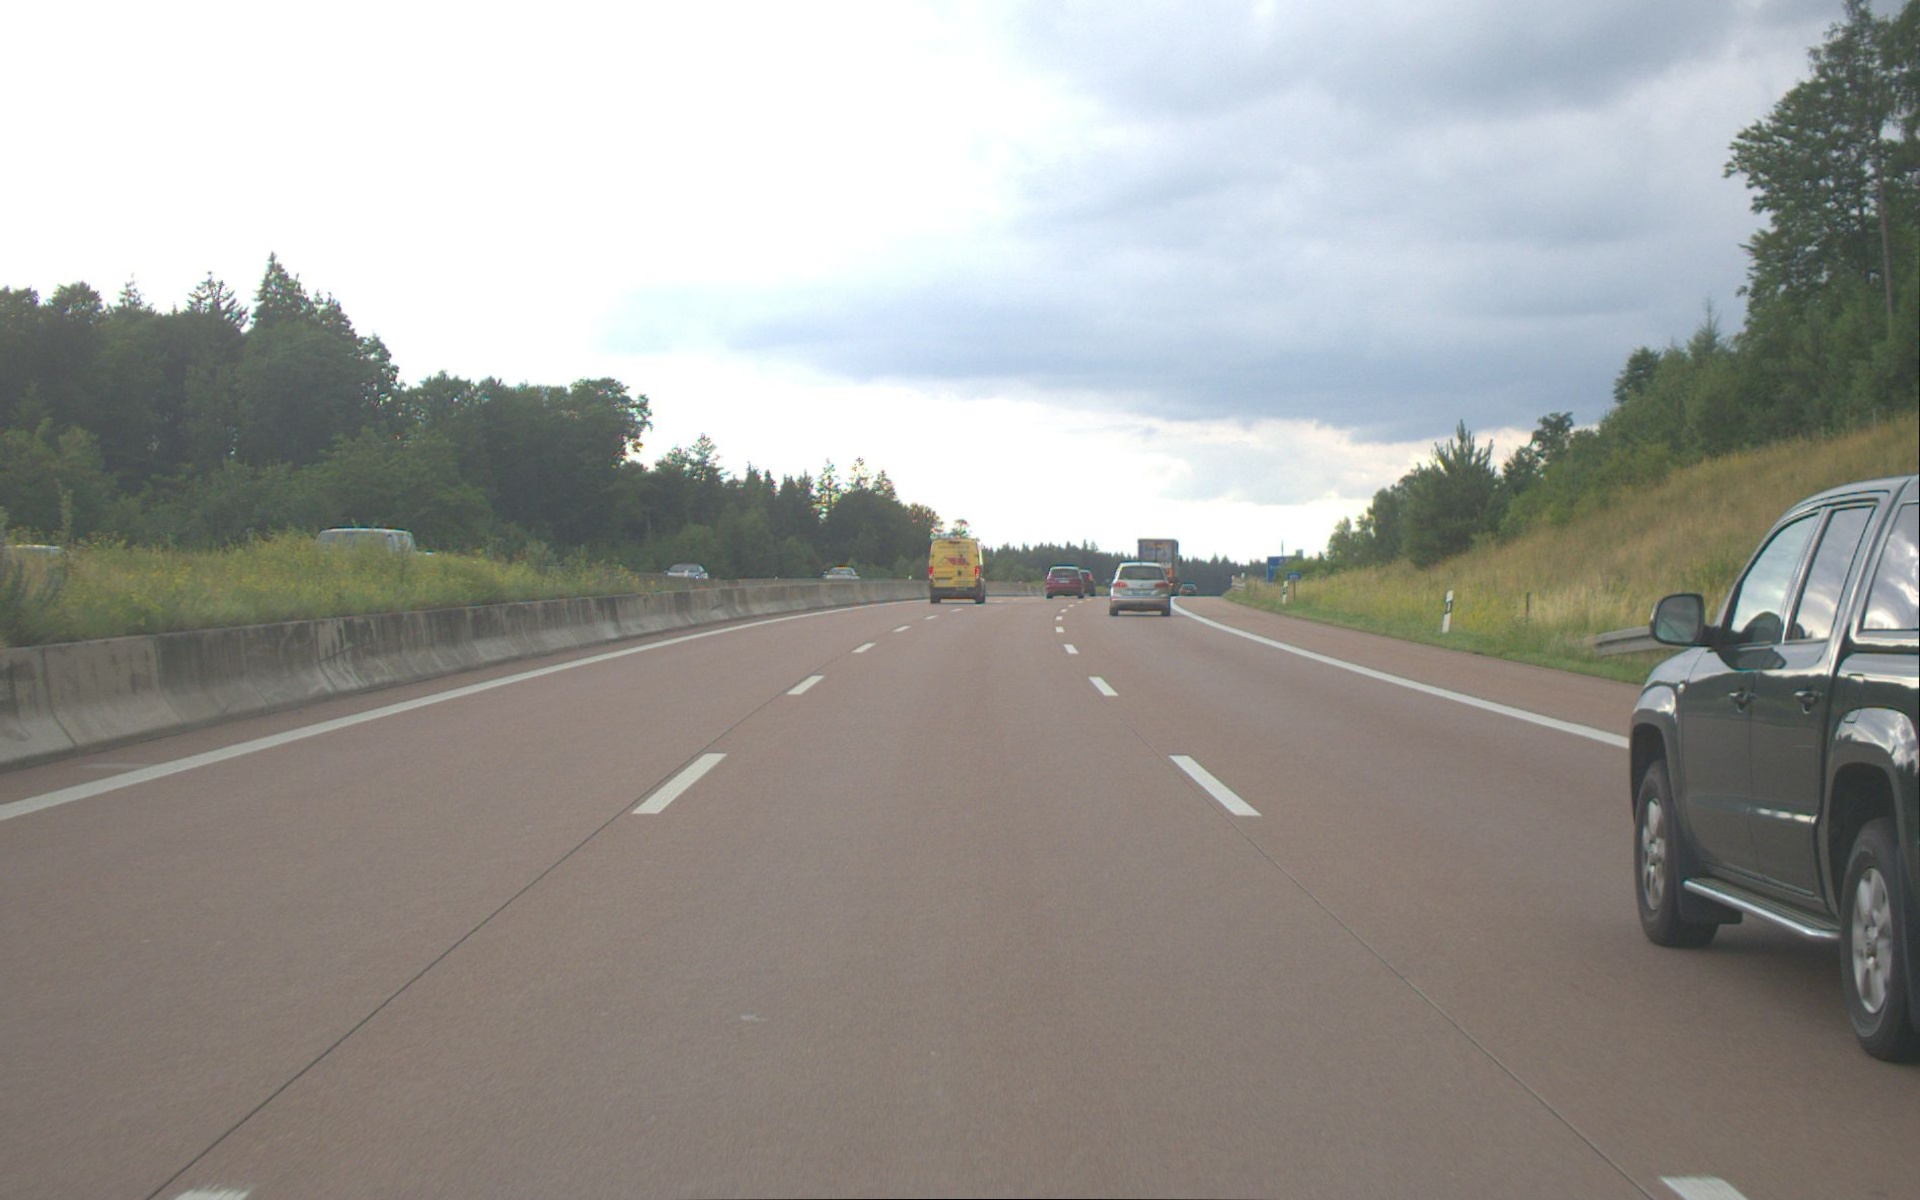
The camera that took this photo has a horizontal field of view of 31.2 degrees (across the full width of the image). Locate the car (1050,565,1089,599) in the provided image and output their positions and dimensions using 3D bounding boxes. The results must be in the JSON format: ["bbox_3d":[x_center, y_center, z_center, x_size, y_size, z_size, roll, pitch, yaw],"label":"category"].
[{"bbox_3d":[5.701,-0.922,178.018,1.888,1.758,4.781,0,0,3],"label":"car"}]

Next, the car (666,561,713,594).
[{"bbox_3d":[-13.141,-1.073,167.086,1.732,1.520,4.411,1,-1,2],"label":"car"}]

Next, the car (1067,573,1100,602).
[{"bbox_3d":[7.618,-0.762,211.143,1.888,1.758,4.997,0,0,3],"label":"car"}]

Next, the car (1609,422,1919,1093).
[{"bbox_3d":[3.728,0.436,11.535,2.044,1.890,5.577,0,0,0],"label":"car"}]

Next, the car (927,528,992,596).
[{"bbox_3d":[-0.011,-1.501,138.116,2.458,2.697,5.613,0,0,1],"label":"car"}]

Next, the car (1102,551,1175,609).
[{"bbox_3d":[5.278,-0.590,101.202,1.978,1.642,4.618,1,1,4],"label":"car"}]

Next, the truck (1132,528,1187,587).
[{"bbox_3d":[14.310,-2.959,245.536,3.681,3.899,12.814,1,-1,4],"label":"truck"}]
